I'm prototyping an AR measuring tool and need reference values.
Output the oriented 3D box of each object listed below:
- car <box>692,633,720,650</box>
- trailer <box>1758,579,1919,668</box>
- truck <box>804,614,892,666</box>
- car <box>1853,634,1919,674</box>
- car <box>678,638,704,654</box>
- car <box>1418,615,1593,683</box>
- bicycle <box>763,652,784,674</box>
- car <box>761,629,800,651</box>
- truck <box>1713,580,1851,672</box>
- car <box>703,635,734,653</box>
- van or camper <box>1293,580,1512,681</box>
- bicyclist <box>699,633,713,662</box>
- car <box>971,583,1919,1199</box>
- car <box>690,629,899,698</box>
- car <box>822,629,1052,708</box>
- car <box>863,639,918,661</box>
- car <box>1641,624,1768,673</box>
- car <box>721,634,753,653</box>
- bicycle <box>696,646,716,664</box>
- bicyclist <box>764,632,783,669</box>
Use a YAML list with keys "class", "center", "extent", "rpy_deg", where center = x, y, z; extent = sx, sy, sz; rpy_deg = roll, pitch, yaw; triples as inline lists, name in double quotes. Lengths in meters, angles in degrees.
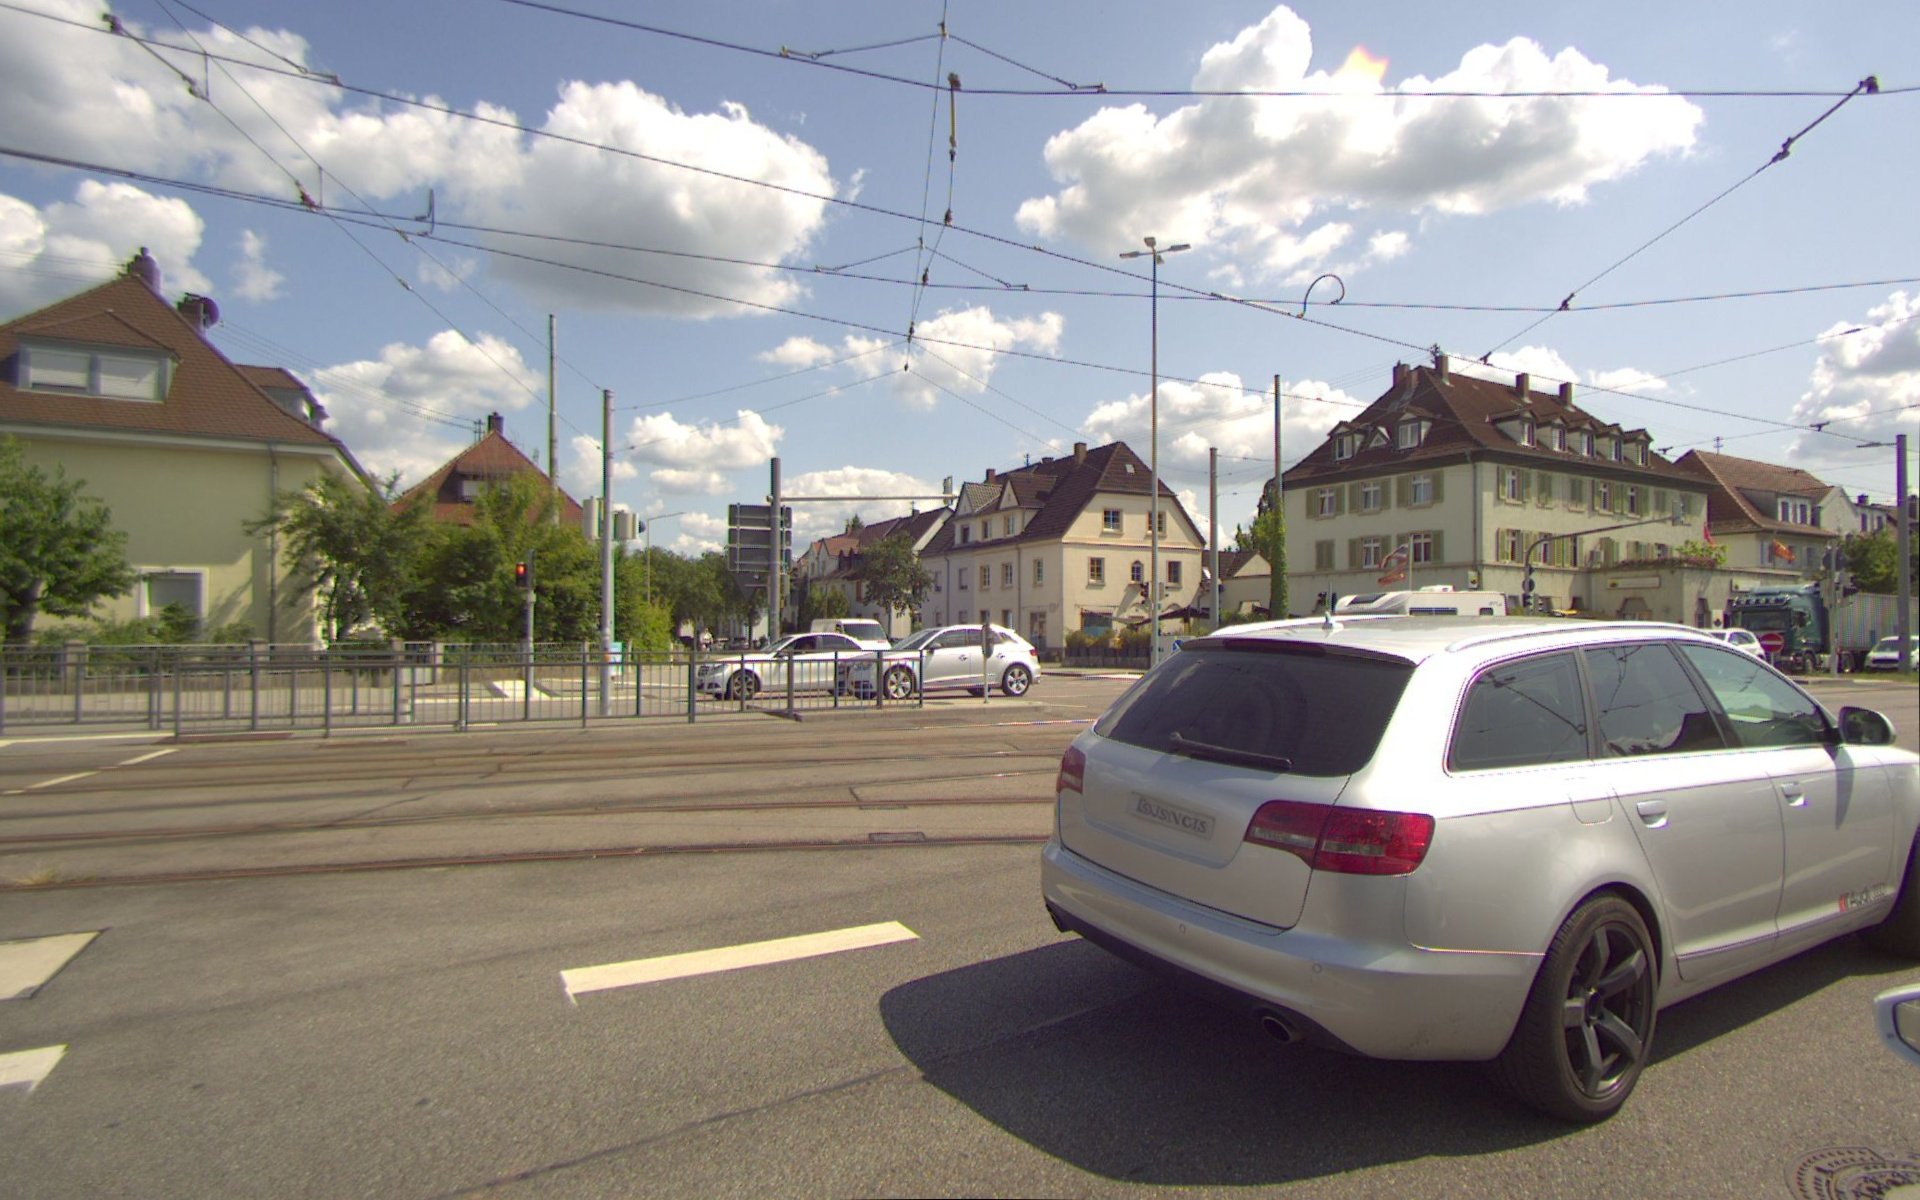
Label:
- class: "car"
  center: [-27.816, 4.537, 110.002]
  extent: [1.976, 1.617, 3.970]
  rpy_deg: [2, -1, -29]
- class: "trailer"
  center: [42.932, 1.169, 47.951]
  extent: [12.674, 3.871, 2.590]
  rpy_deg: [1, -4, -28]
- class: "truck"
  center: [-4.836, 1.625, 42.398]
  extent: [1.668, 1.947, 6.163]
  rpy_deg: [2, -1, -26]
- class: "car"
  center: [40.204, 2.307, 42.797]
  extent: [4.415, 1.658, 1.788]
  rpy_deg: [2, -3, -28]
- class: "car"
  center: [-31.007, 5.260, 115.556]
  extent: [1.976, 1.617, 3.970]
  rpy_deg: [2, -1, -29]
- class: "car"
  center: [15.474, 1.385, 28.466]
  extent: [4.816, 1.799, 1.986]
  rpy_deg: [1, -3, -28]
- class: "bicycle"
  center: [-7.923, 2.670, 42.640]
  extent: [0.595, 0.846, 1.075]
  rpy_deg: [2, -1, -27]
- class: "car"
  center: [-14.781, 3.299, 82.503]
  extent: [1.976, 1.617, 3.970]
  rpy_deg: [2, -1, -29]
- class: "truck"
  center: [36.333, 1.197, 44.415]
  extent: [5.594, 3.871, 2.590]
  rpy_deg: [1, -4, -27]
- class: "car"
  center: [-24.535, 4.481, 101.968]
  extent: [1.976, 1.617, 3.970]
  rpy_deg: [2, -1, -29]
- class: "van or camper"
  center: [14.405, 1.012, 32.492]
  extent: [7.659, 2.968, 2.314]
  rpy_deg: [1, -2, -29]
- class: "bicyclist"
  center: [-13.363, 2.515, 52.890]
  extent: [0.595, 1.517, 0.498]
  rpy_deg: [2, 0, -28]
- class: "car"
  center: [2.492, 0.780, 4.292]
  extent: [4.668, 1.491, 1.786]
  rpy_deg: [2, -2, -31]
- class: "car"
  center: [-3.669, 1.400, 22.420]
  extent: [4.292, 1.369, 1.677]
  rpy_deg: [2, -1, -29]
- class: "car"
  center: [-0.438, 1.329, 19.948]
  extent: [4.128, 1.369, 1.984]
  rpy_deg: [2, -1, -30]
- class: "car"
  center: [-5.451, 3.933, 79.109]
  extent: [3.944, 1.617, 1.829]
  rpy_deg: [2, -1, -24]
- class: "car"
  center: [25.856, 1.718, 34.876]
  extent: [4.128, 1.572, 1.986]
  rpy_deg: [2, -5, -30]
- class: "car"
  center: [-21.372, 4.122, 96.317]
  extent: [1.976, 1.617, 3.970]
  rpy_deg: [2, -1, -29]
- class: "bicycle"
  center: [-13.383, 2.882, 52.899]
  extent: [0.595, 0.846, 1.797]
  rpy_deg: [2, -1, -27]
- class: "bicyclist"
  center: [-7.928, 2.160, 42.673]
  extent: [0.595, 1.528, 0.641]
  rpy_deg: [2, 0, -28]
